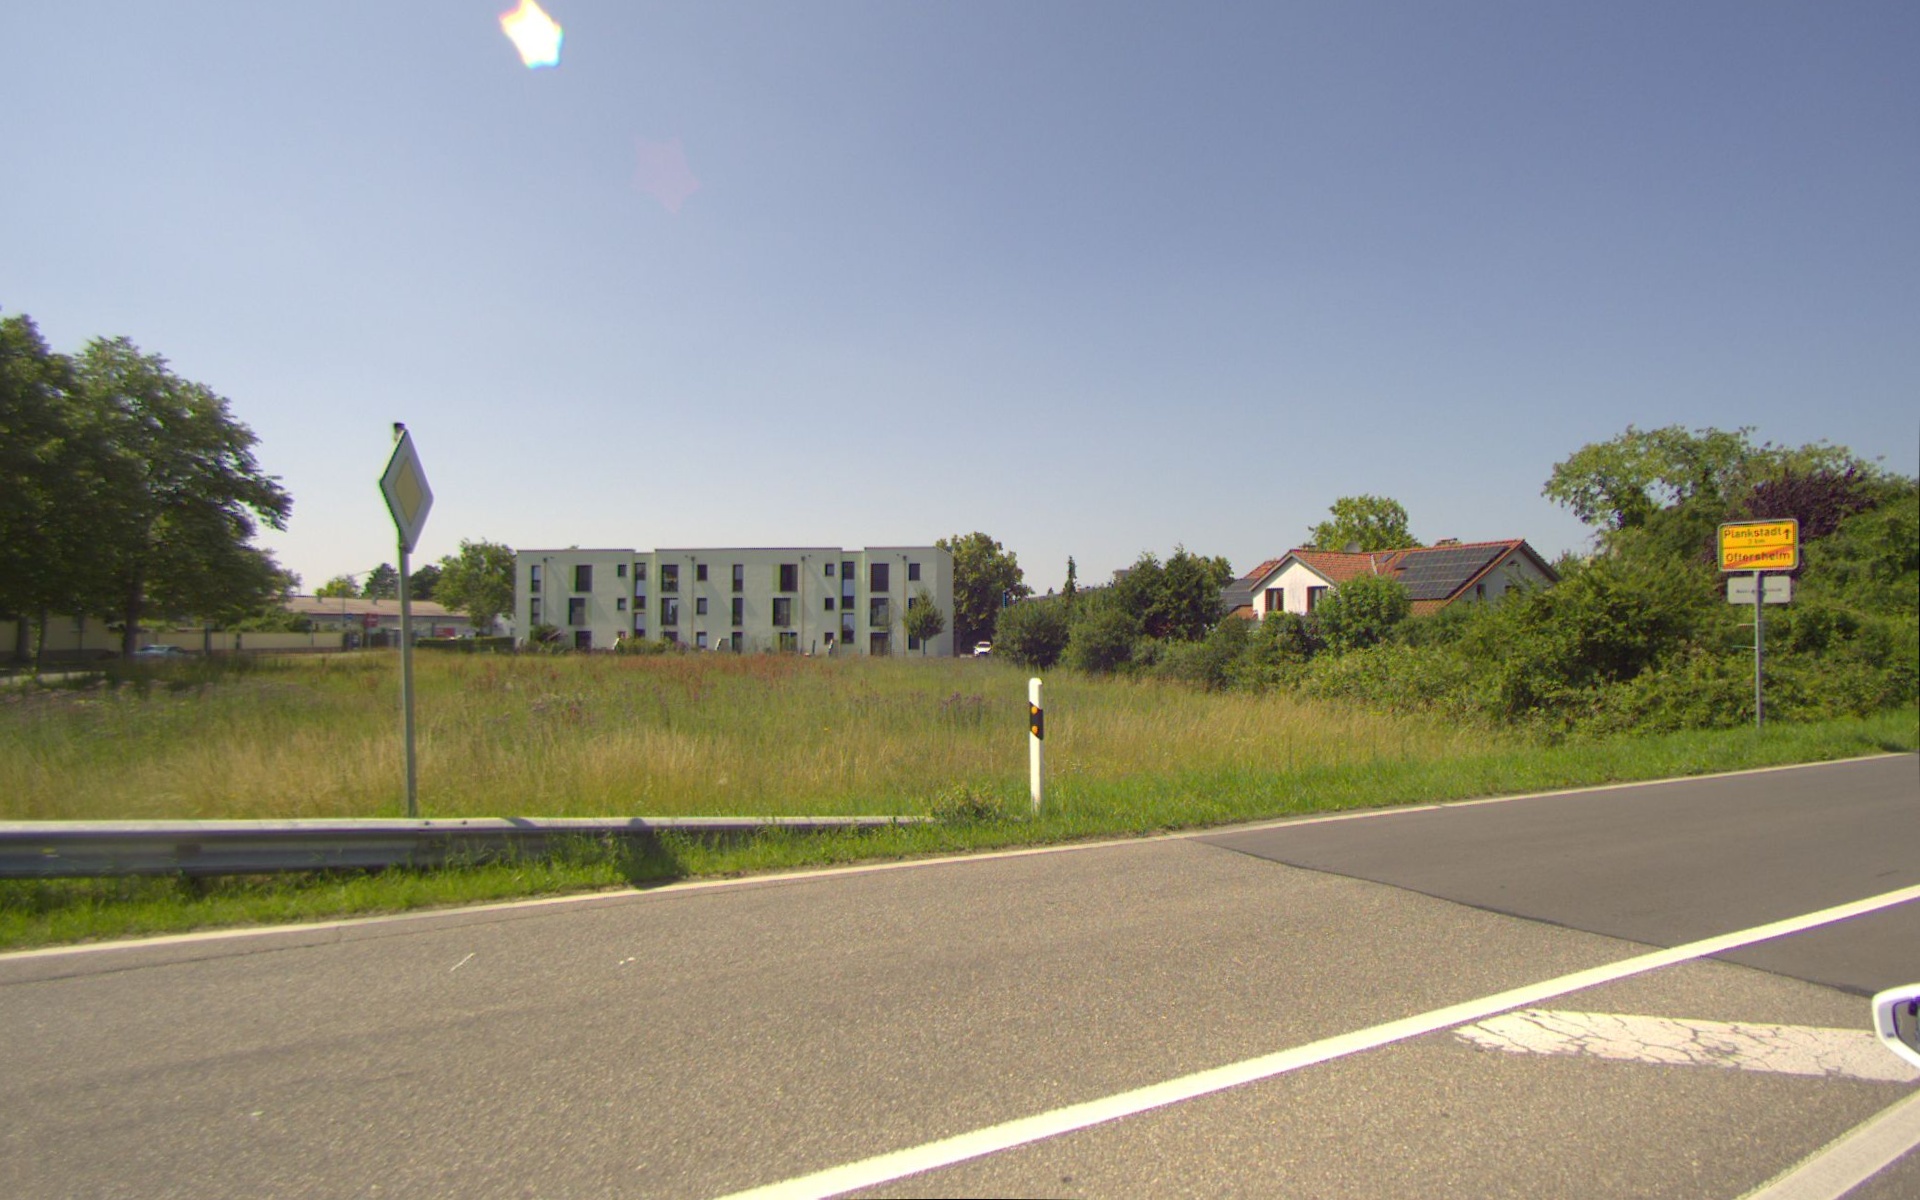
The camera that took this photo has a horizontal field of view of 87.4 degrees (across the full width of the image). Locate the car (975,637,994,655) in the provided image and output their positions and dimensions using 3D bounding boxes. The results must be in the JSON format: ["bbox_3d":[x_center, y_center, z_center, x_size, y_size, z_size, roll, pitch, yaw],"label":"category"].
[{"bbox_3d":[2.428,4.497,98.284,1.789,1.639,4.002,1,-1,3],"label":"car"}]

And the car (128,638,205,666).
[{"bbox_3d":[-45.476,2.949,57.673,1.612,1.490,4.407,0,-2,-11],"label":"car"}]
